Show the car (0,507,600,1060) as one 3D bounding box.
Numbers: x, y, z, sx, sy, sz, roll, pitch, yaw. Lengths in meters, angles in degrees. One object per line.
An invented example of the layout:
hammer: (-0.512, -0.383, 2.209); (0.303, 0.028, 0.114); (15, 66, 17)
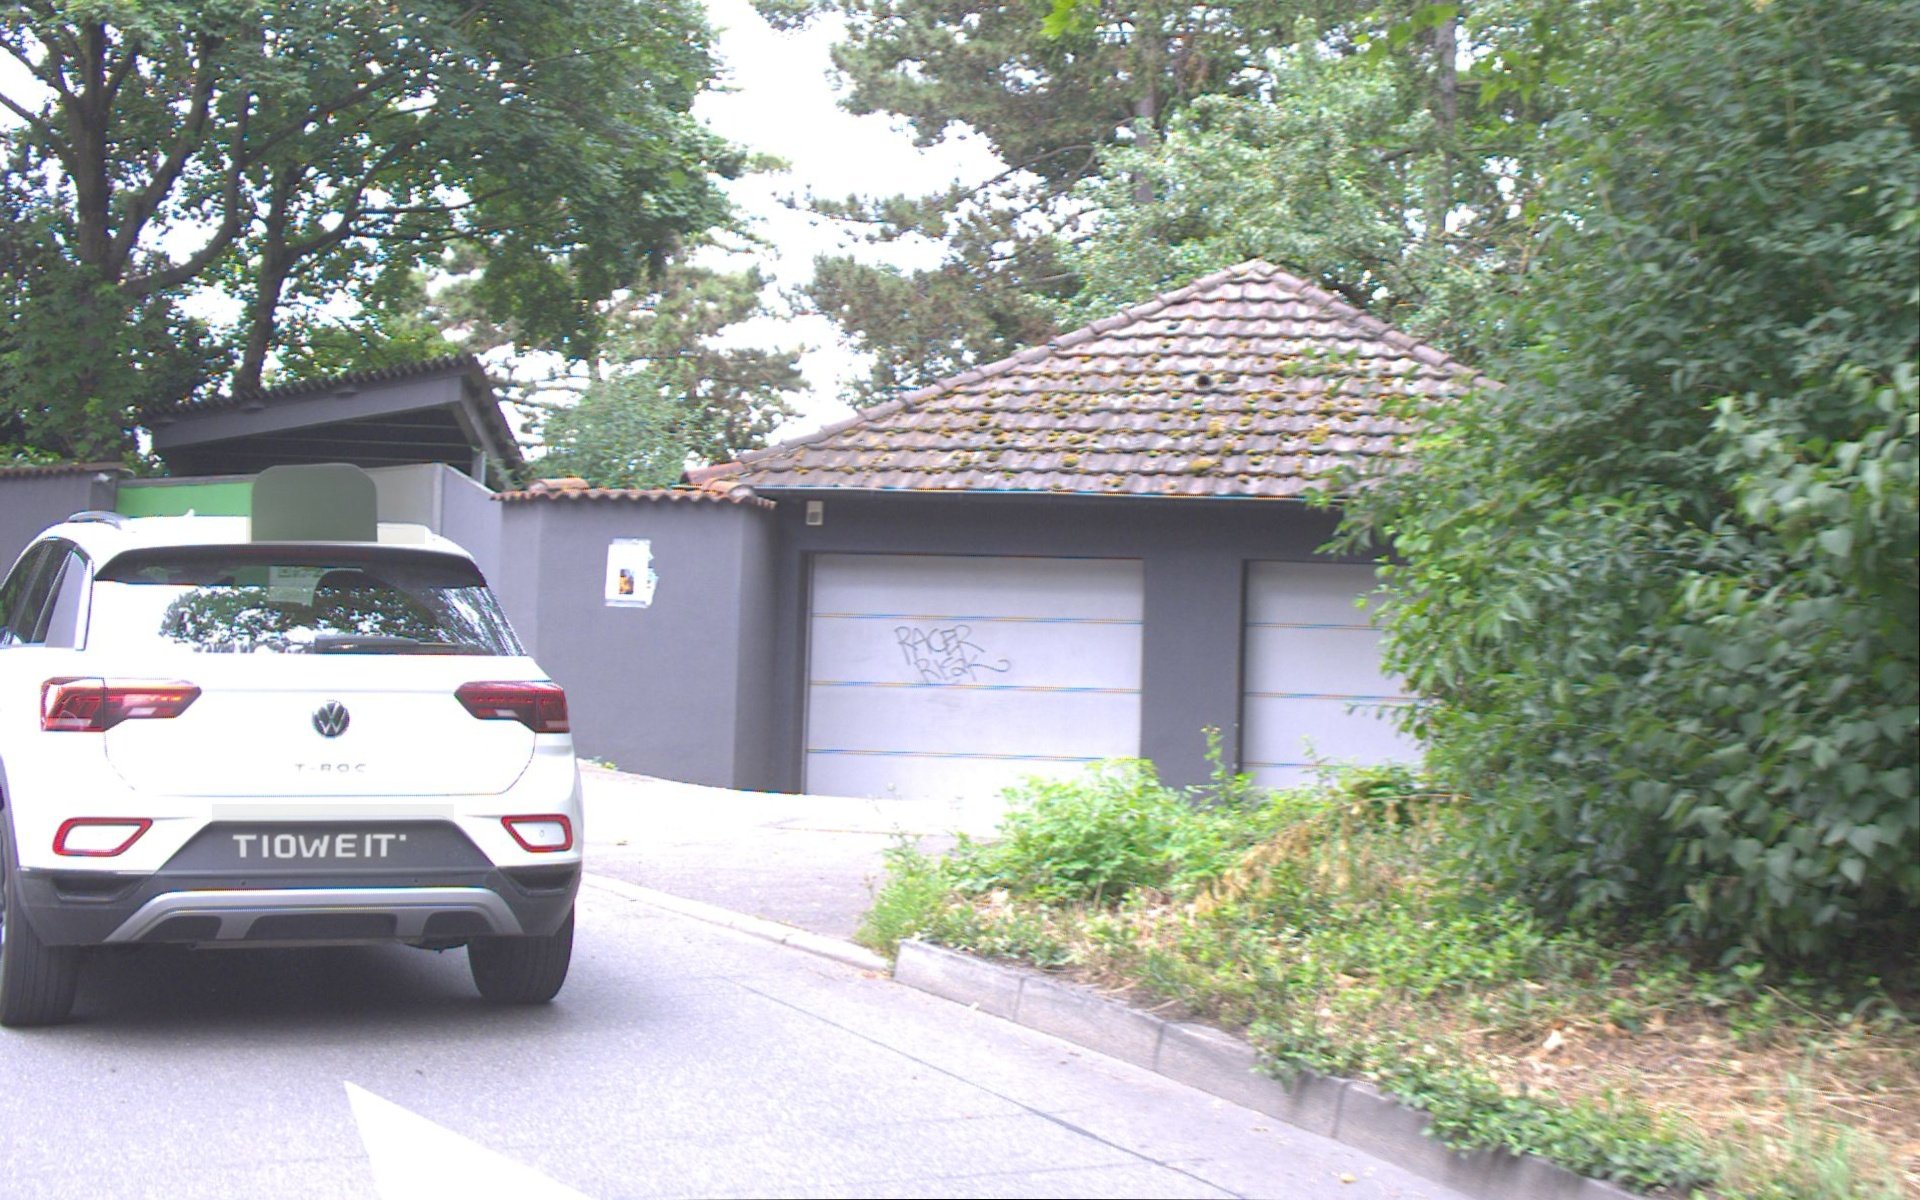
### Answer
car: (-2.672, 0.456, 11.940); (1.754, 1.547, 4.339); (0, 2, -21)
